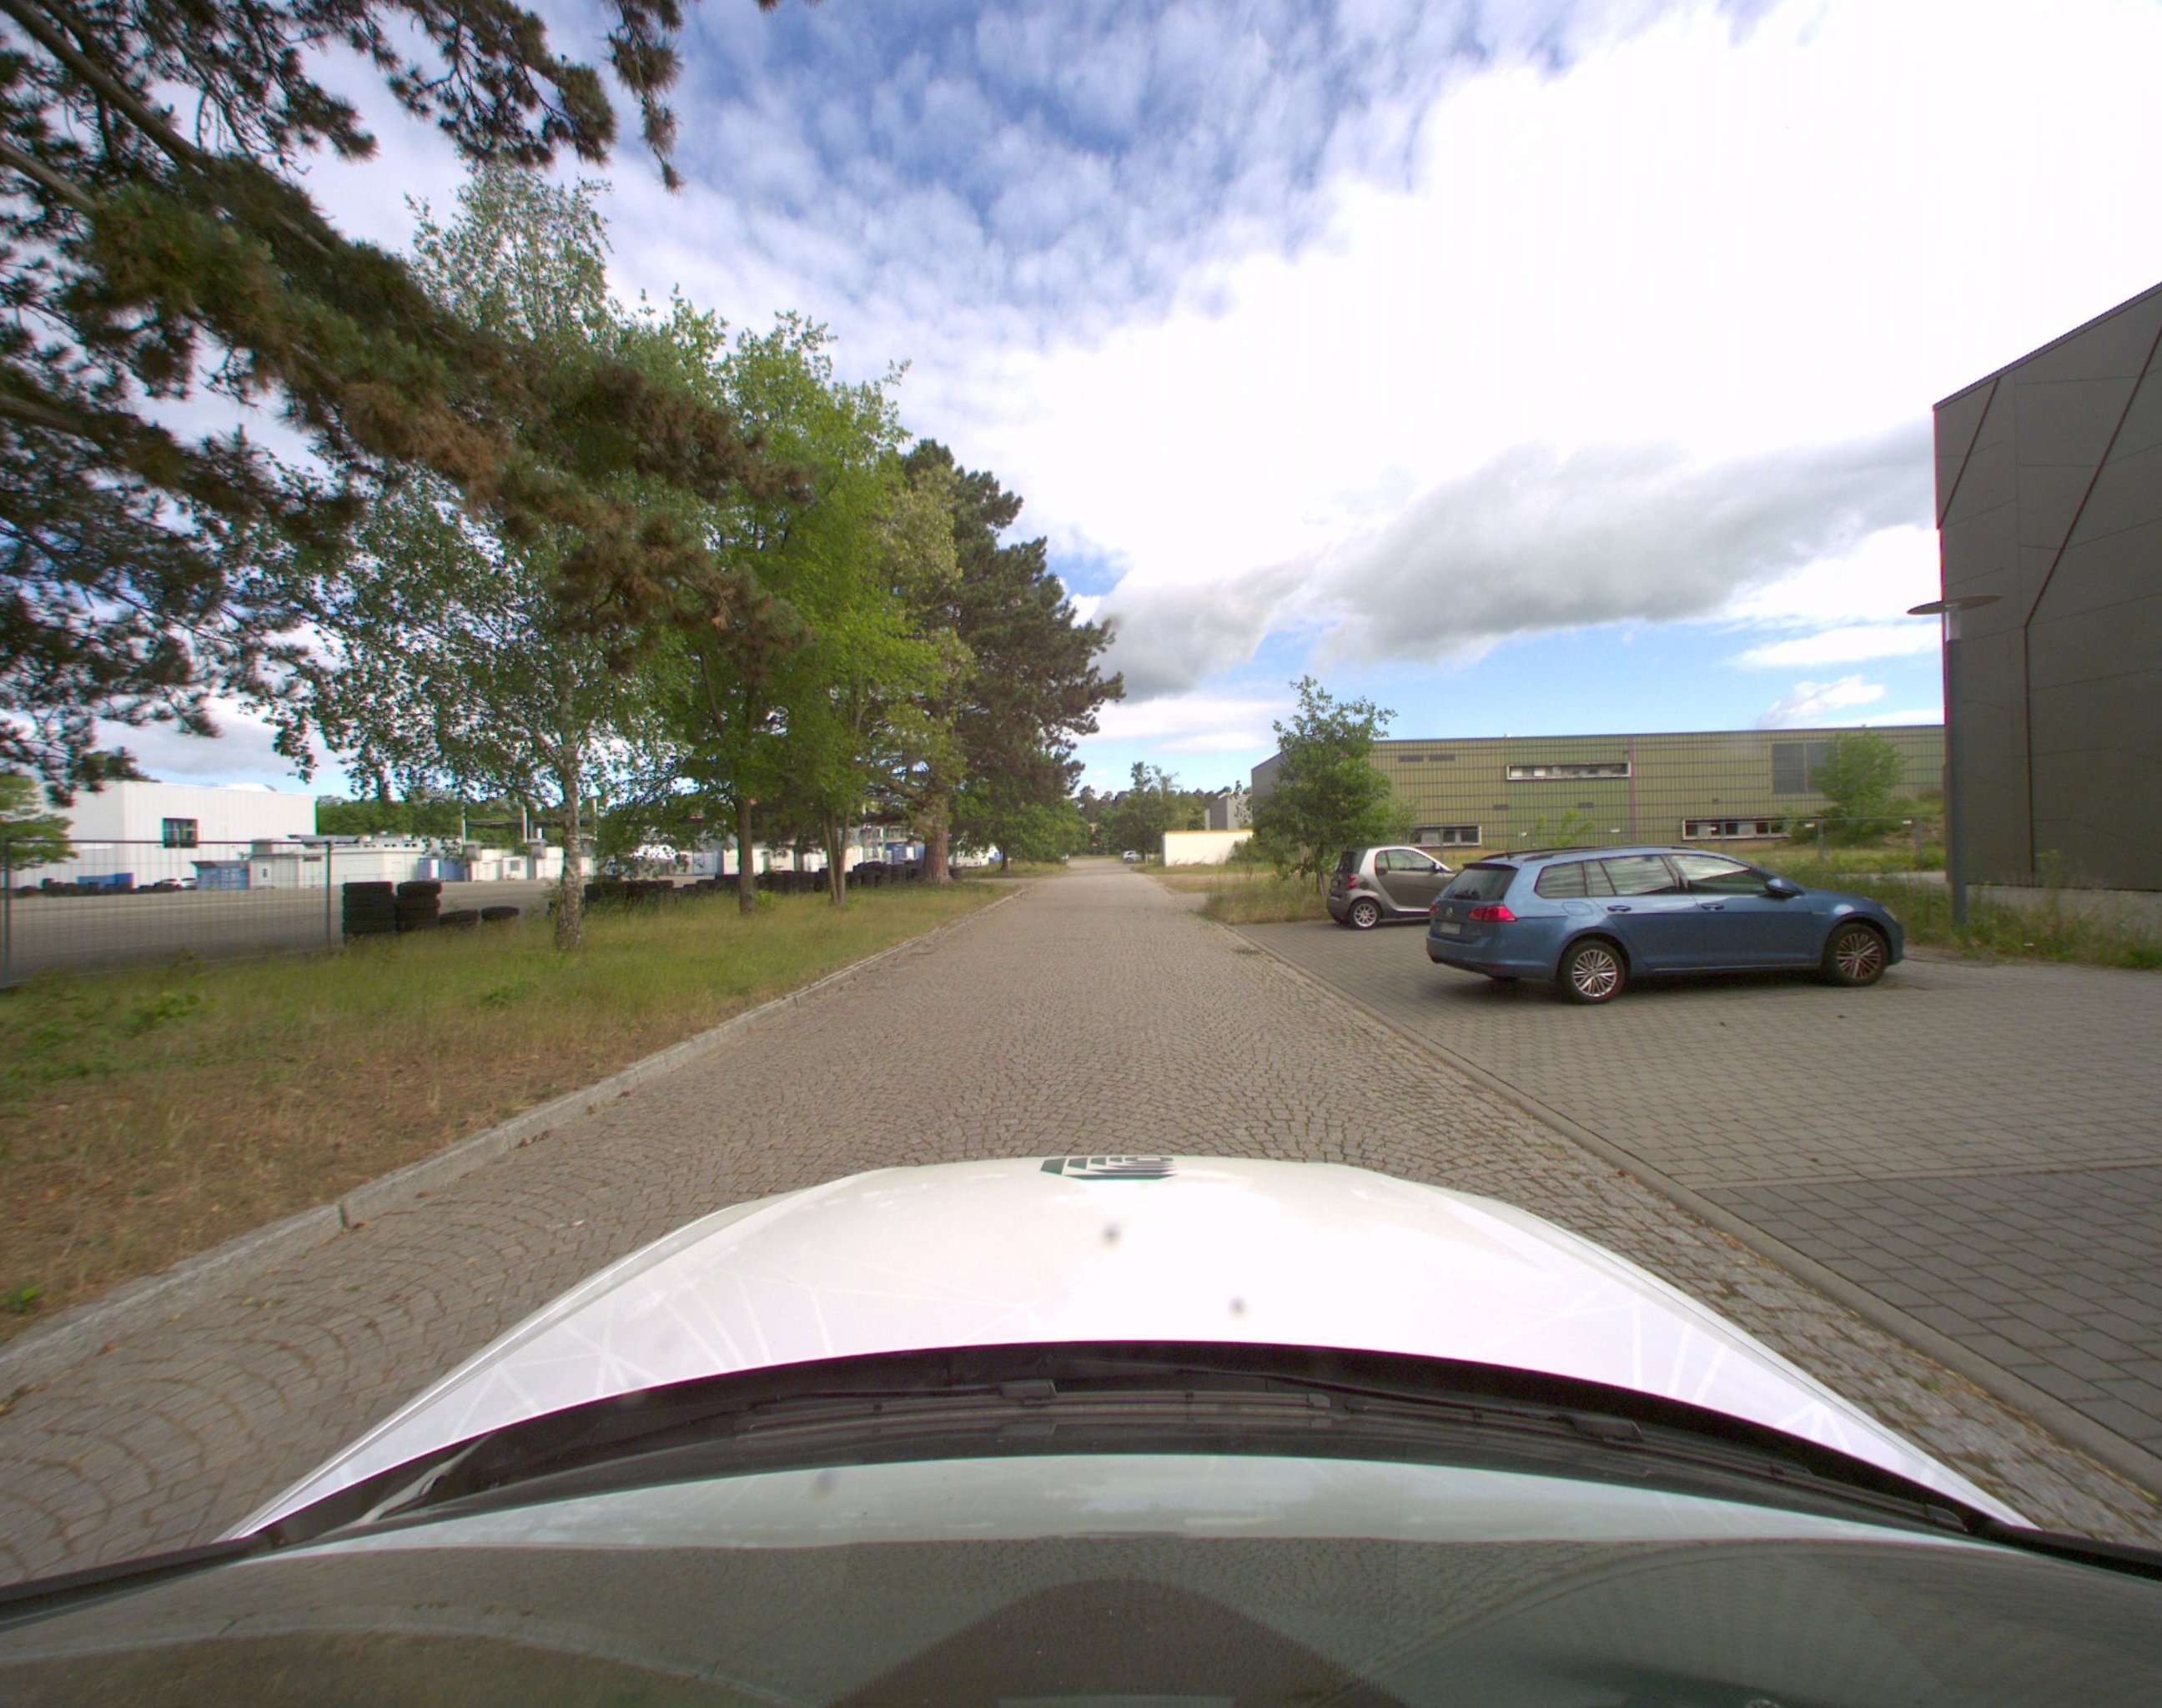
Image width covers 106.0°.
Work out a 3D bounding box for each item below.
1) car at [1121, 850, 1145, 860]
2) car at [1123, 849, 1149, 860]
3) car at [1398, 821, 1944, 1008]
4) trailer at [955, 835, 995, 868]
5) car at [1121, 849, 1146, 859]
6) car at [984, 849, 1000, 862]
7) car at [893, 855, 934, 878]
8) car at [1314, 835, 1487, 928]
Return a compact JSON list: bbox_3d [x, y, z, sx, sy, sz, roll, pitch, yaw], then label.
[{"bbox_3d":[8.040,0.099,125.831,3.509,1.362,1.623,-3,0,1],"label":"car"},{"bbox_3d":[8.655,0.066,128.516,3.970,1.448,1.654,-4,0,1],"label":"car"},{"bbox_3d":[5.997,0.565,8.671,4.478,1.475,1.829,-4,0,-2],"label":"car"},{"bbox_3d":[-12.346,-0.261,95.845,2.614,3.598,10.187,-1,0,4],"label":"trailer"},{"bbox_3d":[8.553,-0.014,133.652,3.970,1.475,1.654,-4,0,1],"label":"car"},{"bbox_3d":[-14.838,0.281,135.730,1.986,2.013,4.770,-1,0,2],"label":"car"},{"bbox_3d":[-11.828,0.851,57.825,1.617,1.433,4.072,-2,1,7],"label":"car"},{"bbox_3d":[6.179,0.516,15.981,2.699,1.556,1.654,-4,0,2],"label":"car"}]
